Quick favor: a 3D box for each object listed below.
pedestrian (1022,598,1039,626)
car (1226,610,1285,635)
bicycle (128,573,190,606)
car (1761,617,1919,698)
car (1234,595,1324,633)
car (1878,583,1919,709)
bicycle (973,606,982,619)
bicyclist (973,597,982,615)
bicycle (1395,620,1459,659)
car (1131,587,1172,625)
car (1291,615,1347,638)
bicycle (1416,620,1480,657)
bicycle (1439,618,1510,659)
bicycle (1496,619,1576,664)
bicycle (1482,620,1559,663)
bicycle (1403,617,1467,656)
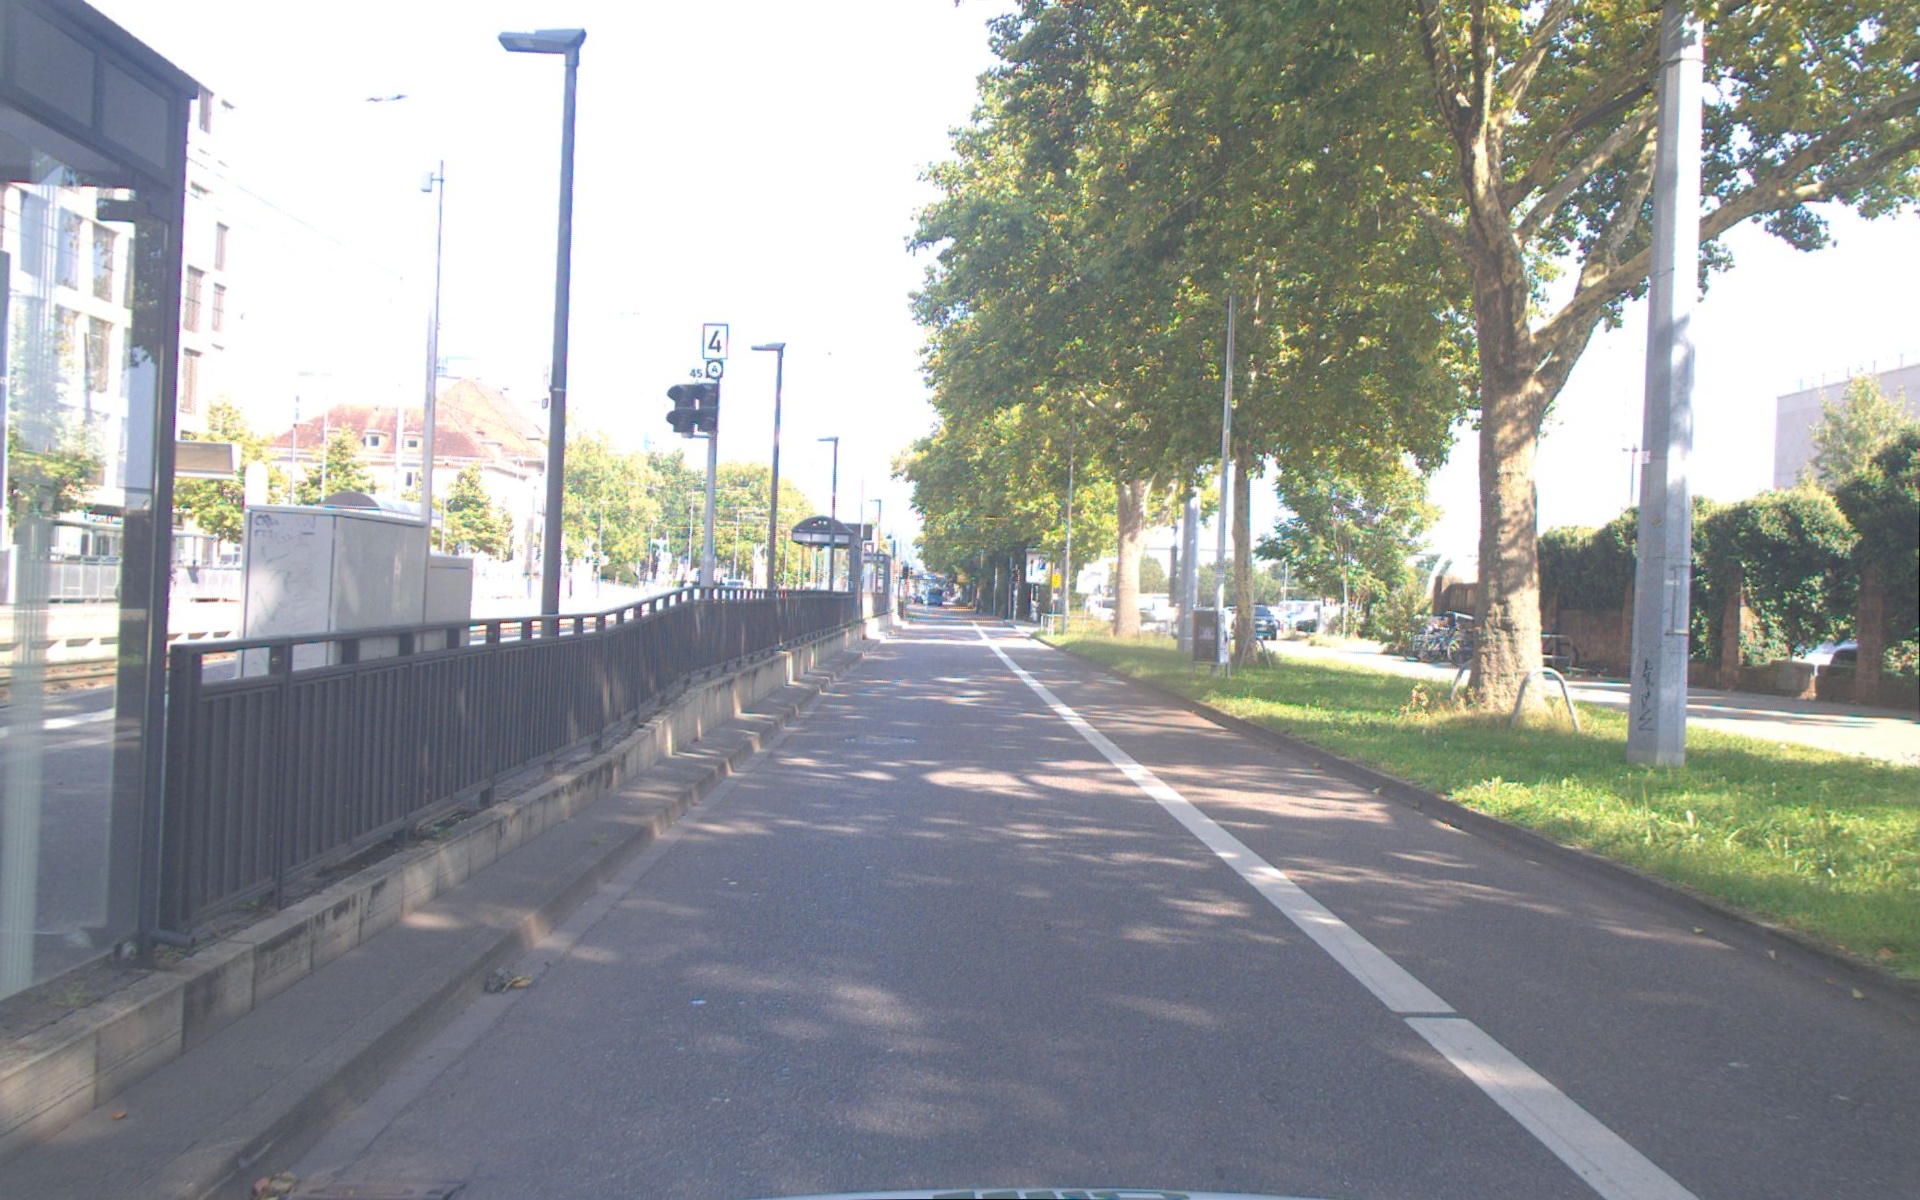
[{"bbox_3d":[4.162,0.700,97.825,0.614,1.645,0.842,2,0,36],"label":"pedestrian"},{"bbox_3d":[19.731,1.516,110.627,3.695,1.471,1.528,3,0,5],"label":"car"},{"bbox_3d":[-17.219,-0.225,35.586,0.467,0.674,1.614,2,0,3],"label":"bicycle"},{"bbox_3d":[21.146,1.331,38.053,4.426,1.704,1.977,2,0,2],"label":"car"},{"bbox_3d":[15.663,0.709,81.153,4.189,1.708,1.710,2,0,-30],"label":"car"},{"bbox_3d":[20.815,0.954,31.843,5.025,2.410,2.131,2,0,2],"label":"car"},{"bbox_3d":[1.516,1.080,142.582,0.700,1.127,2.508,3,0,-1],"label":"bicycle"},{"bbox_3d":[1.535,0.540,142.577,0.691,1.486,1.009,3,-1,-1],"label":"bicyclist"},{"bbox_3d":[12.302,1.035,43.589,0.502,0.986,1.636,0,0,-42],"label":"bicycle"},{"bbox_3d":[10.970,0.324,94.932,1.687,2.084,4.461,2,0,-1],"label":"car"},{"bbox_3d":[25.639,1.893,118.186,3.695,1.471,1.528,3,0,5],"label":"car"},{"bbox_3d":[13.464,1.058,45.672,1.622,0.986,0.506,0,0,1],"label":"bicycle"},{"bbox_3d":[12.768,0.947,41.056,1.621,0.986,0.506,0,0,4],"label":"bicycle"},{"bbox_3d":[13.026,0.939,37.430,1.622,0.986,0.506,0,0,0],"label":"bicycle"},{"bbox_3d":[12.945,0.956,38.222,1.621,0.986,0.506,0,0,4],"label":"bicycle"},{"bbox_3d":[12.694,0.968,44.213,0.502,0.986,1.636,0,0,-42],"label":"bicycle"}]
